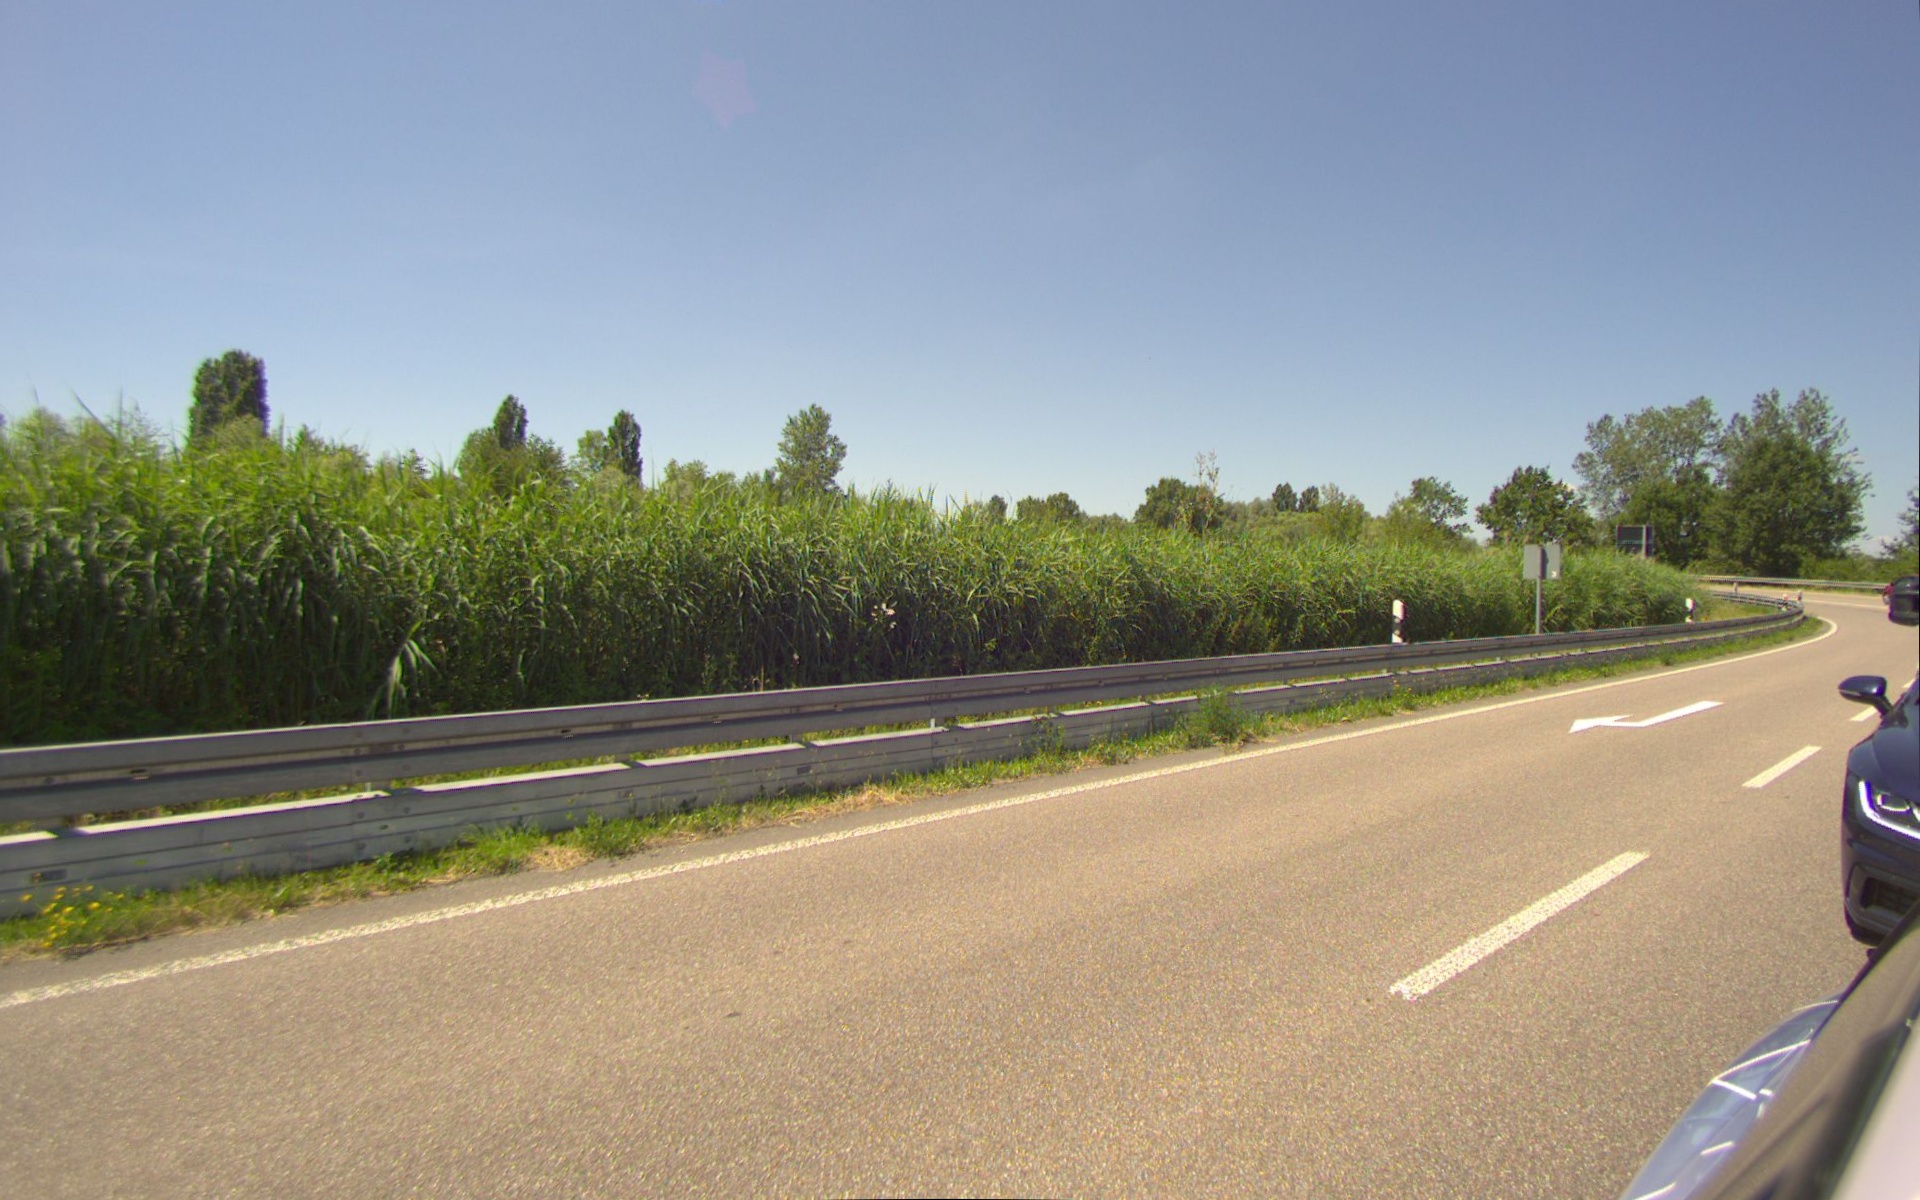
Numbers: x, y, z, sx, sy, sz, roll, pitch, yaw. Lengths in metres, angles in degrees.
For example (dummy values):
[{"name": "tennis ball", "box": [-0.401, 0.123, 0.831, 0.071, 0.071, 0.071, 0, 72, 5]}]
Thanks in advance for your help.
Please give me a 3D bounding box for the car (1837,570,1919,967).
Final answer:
[{"name": "car", "box": [5.650, 0.616, 4.680, 4.338, 1.481, 1.818, -1, 1, -41]}]
